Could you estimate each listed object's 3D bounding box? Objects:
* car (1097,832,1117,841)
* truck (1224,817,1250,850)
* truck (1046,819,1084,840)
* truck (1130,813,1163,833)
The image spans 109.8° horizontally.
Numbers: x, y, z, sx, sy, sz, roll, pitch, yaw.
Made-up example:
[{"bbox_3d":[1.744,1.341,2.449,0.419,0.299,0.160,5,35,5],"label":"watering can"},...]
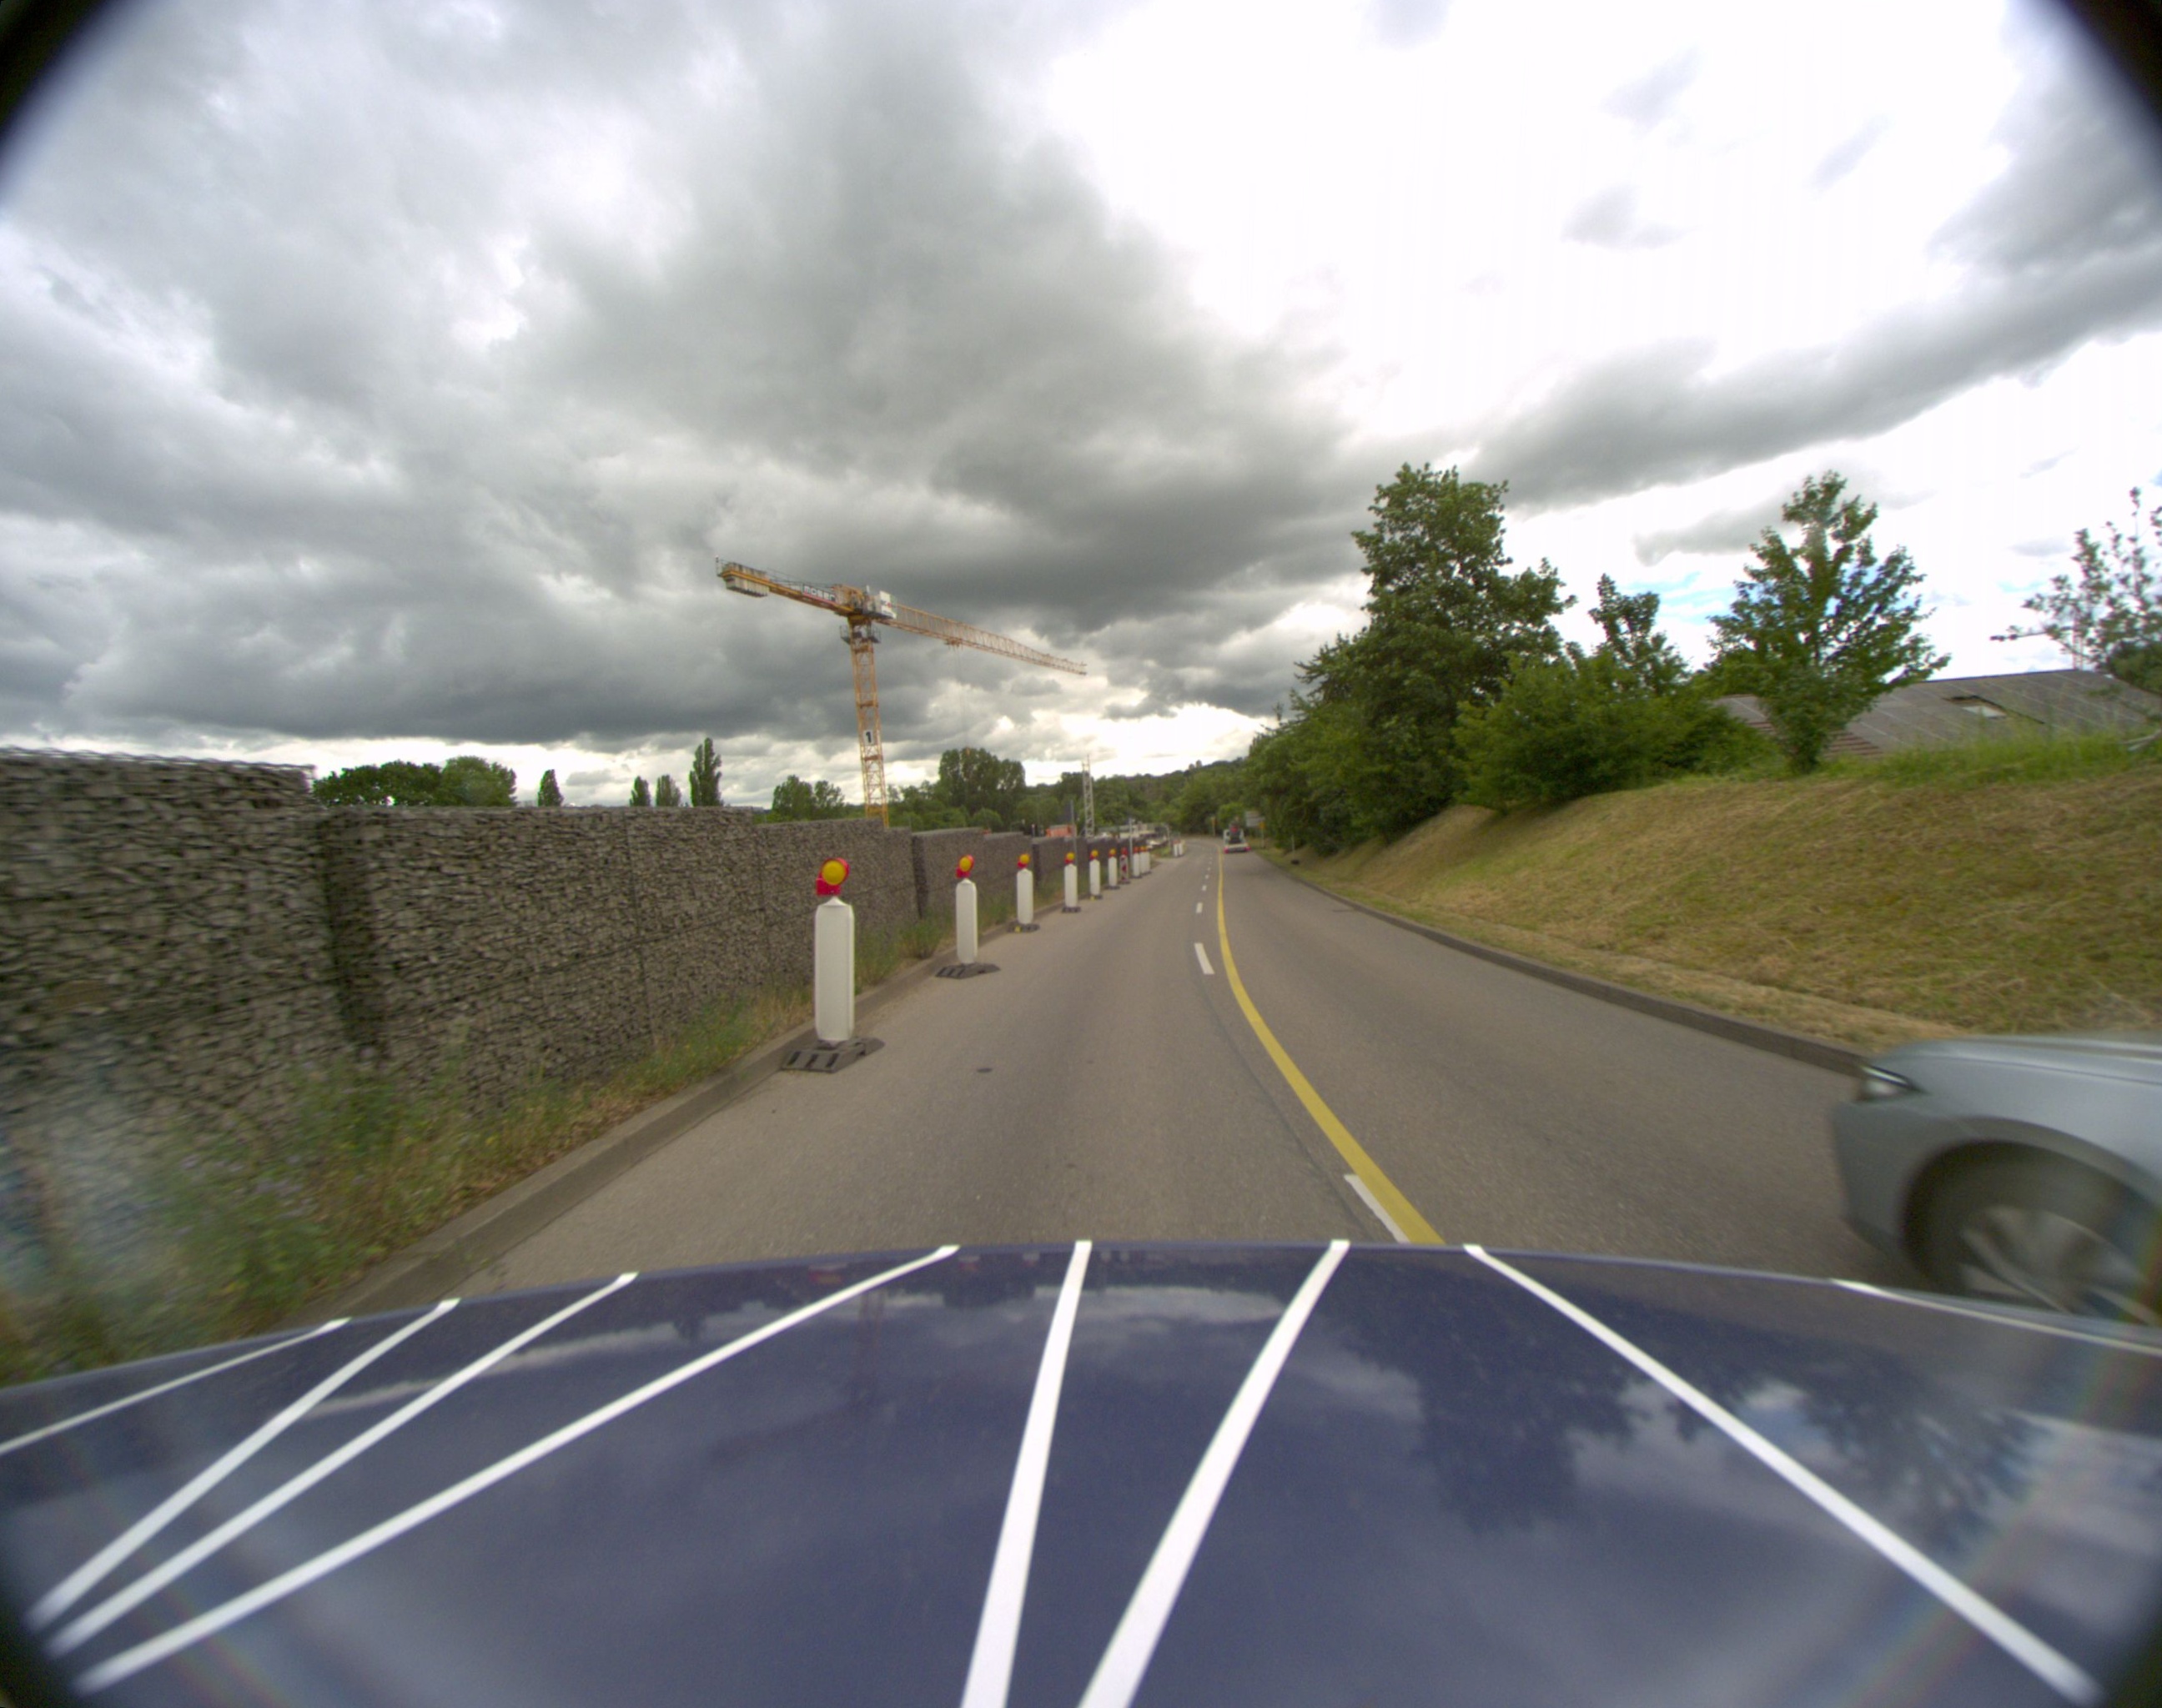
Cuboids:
[{"bbox_3d":[5.195,-3.417,150.773,1.897,1.554,4.090,-7,3,-33],"label":"car"},{"bbox_3d":[14.910,-1.910,73.073,2.219,2.997,7.744,-1,1,10],"label":"truck"},{"bbox_3d":[-3.562,-5.200,162.834,3.045,3.877,9.977,-7,3,-33],"label":"truck"},{"bbox_3d":[11.817,-5.490,137.019,2.762,3.240,7.596,-6,3,-20],"label":"truck"}]
